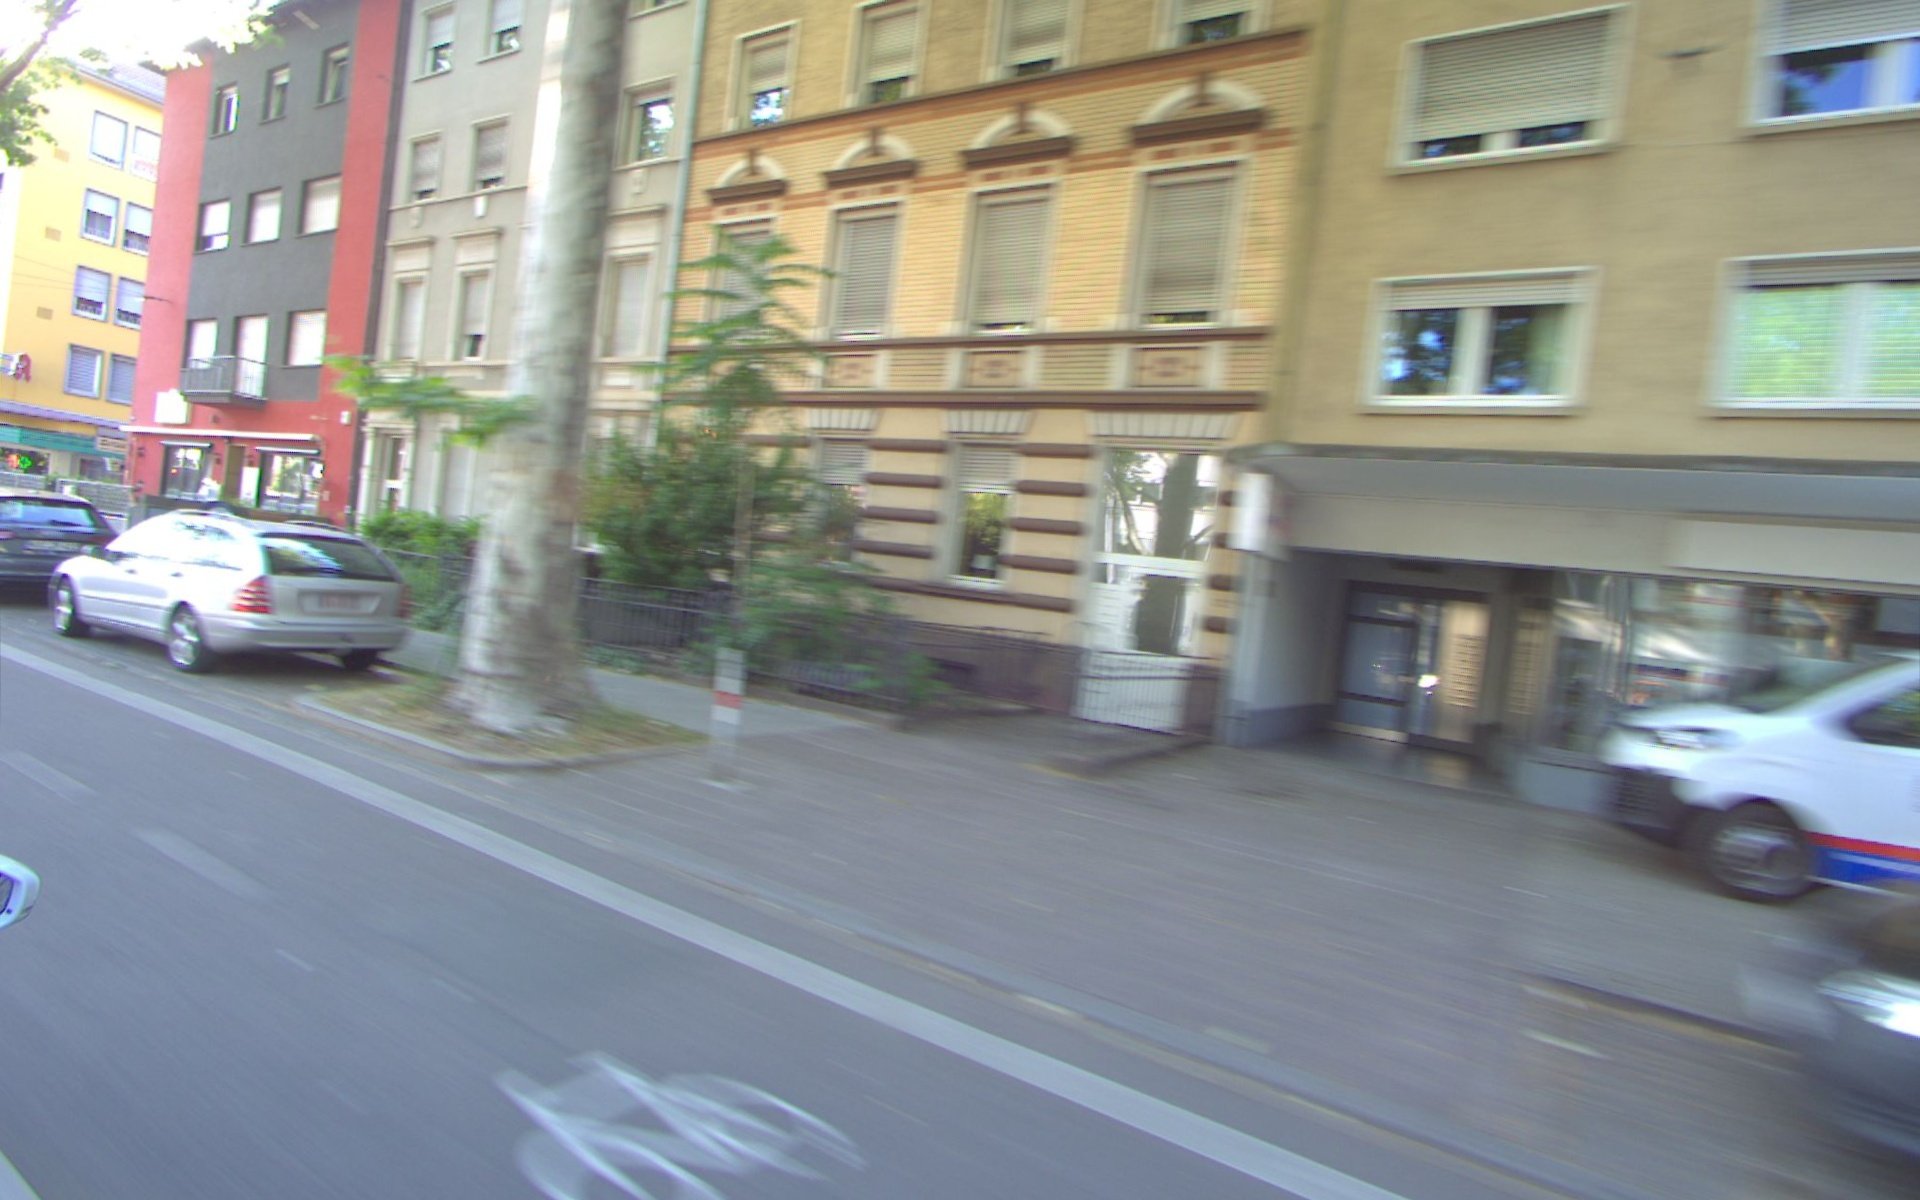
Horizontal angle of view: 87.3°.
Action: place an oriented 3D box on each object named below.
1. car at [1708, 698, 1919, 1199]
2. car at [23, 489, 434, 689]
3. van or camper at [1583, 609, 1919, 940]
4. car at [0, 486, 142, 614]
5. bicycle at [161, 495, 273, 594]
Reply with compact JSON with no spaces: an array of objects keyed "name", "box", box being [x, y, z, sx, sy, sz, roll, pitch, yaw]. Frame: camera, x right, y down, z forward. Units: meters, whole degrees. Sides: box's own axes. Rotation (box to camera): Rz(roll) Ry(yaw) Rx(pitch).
[{"name":"car","box":[4.671,1.372,2.722,3.933,1.565,1.655,7,1,31]},{"name":"car","box":[-7.619,-0.165,10.355,4.493,1.469,1.676,7,0,30]},{"name":"van or camper","box":[7.503,1.374,6.852,5.301,1.947,1.944,7,1,31]},{"name":"car","box":[-12.893,-0.804,13.483,4.251,1.414,1.711,7,1,33]},{"name":"bicycle","box":[-12.712,-0.967,17.186,2.357,1.443,0.608,7,-1,33]}]
